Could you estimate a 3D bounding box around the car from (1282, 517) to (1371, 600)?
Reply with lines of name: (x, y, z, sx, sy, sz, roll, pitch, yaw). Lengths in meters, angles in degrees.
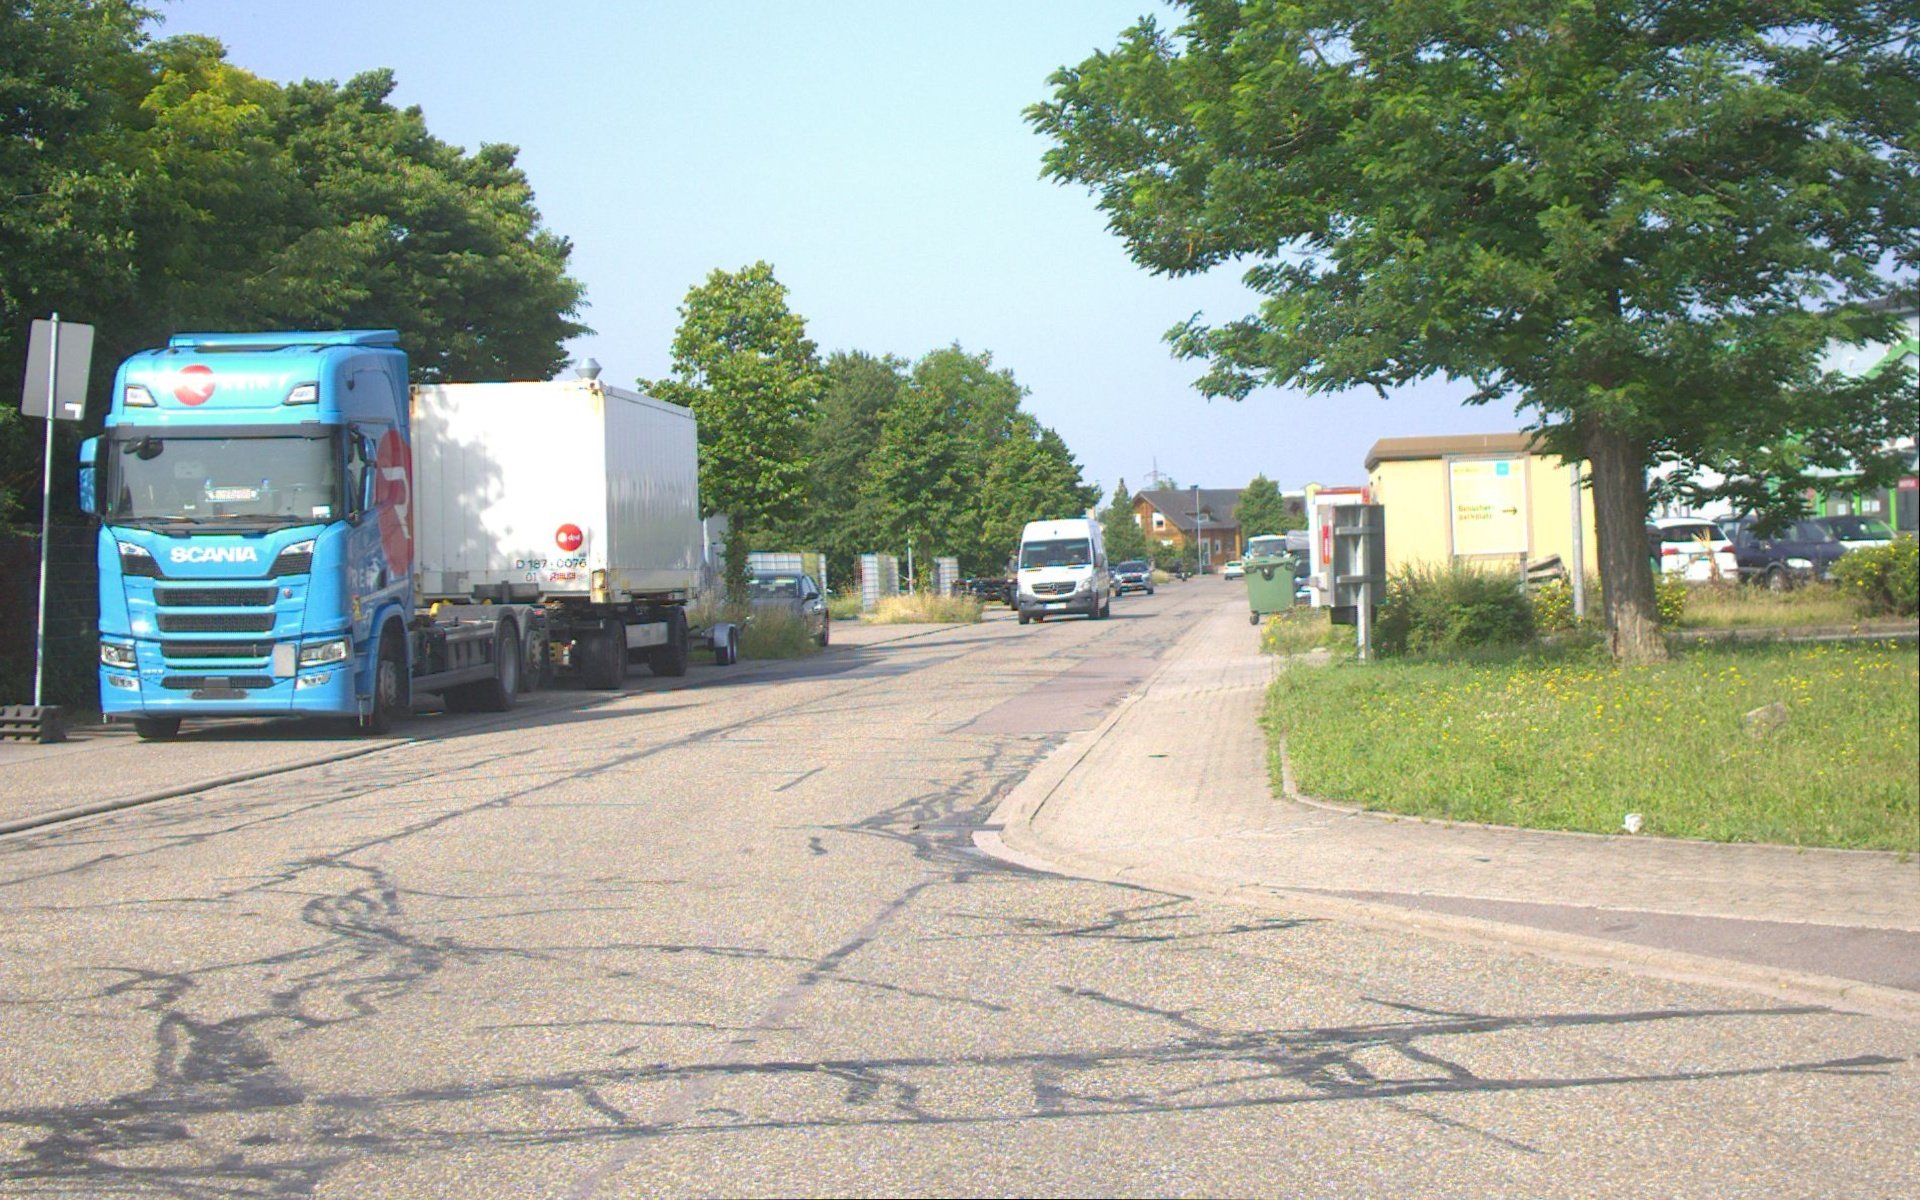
car: (7.982, -0.882, 75.110, 1.792, 1.744, 3.999, 0, 0, 4)

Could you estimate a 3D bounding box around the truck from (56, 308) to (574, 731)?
truck: (-6.386, -0.718, 35.922, 2.826, 3.813, 9.671, 0, 0, 5)

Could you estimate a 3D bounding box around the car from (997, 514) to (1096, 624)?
car: (2.144, -0.752, 86.938, 2.214, 2.677, 6.853, 0, 0, -1)

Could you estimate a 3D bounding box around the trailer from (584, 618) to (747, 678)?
trailer: (-4.563, 0.734, 53.803, 1.897, 0.758, 4.000, -2, 1, 4)

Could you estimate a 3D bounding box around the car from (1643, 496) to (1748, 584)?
car: (14.048, -1.119, 65.815, 1.718, 1.612, 3.998, 0, 0, 9)

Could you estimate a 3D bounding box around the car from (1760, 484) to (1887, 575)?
car: (16.375, -1.313, 65.350, 1.792, 1.634, 3.999, 0, 0, 6)

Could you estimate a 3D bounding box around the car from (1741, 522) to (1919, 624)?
car: (12.208, -0.351, 46.930, 1.667, 1.325, 3.664, 0, 0, -11)

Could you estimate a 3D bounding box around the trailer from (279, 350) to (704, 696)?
trailer: (-5.659, -0.846, 44.193, 2.831, 3.830, 12.034, 0, 0, 5)

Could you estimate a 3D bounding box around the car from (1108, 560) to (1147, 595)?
car: (8.048, -1.068, 165.341, 1.639, 1.656, 4.000, 0, 0, -1)

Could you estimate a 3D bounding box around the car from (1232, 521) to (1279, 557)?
car: (15.172, -3.123, 176.712, 1.770, 1.809, 4.000, 0, 0, -4)

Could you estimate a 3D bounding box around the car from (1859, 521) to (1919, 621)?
car: (14.026, -0.400, 47.390, 1.748, 1.368, 3.664, 0, 0, -11)

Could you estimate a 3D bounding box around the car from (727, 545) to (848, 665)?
car: (-3.133, 0.065, 61.644, 1.993, 2.007, 4.001, -2, 1, -4)
